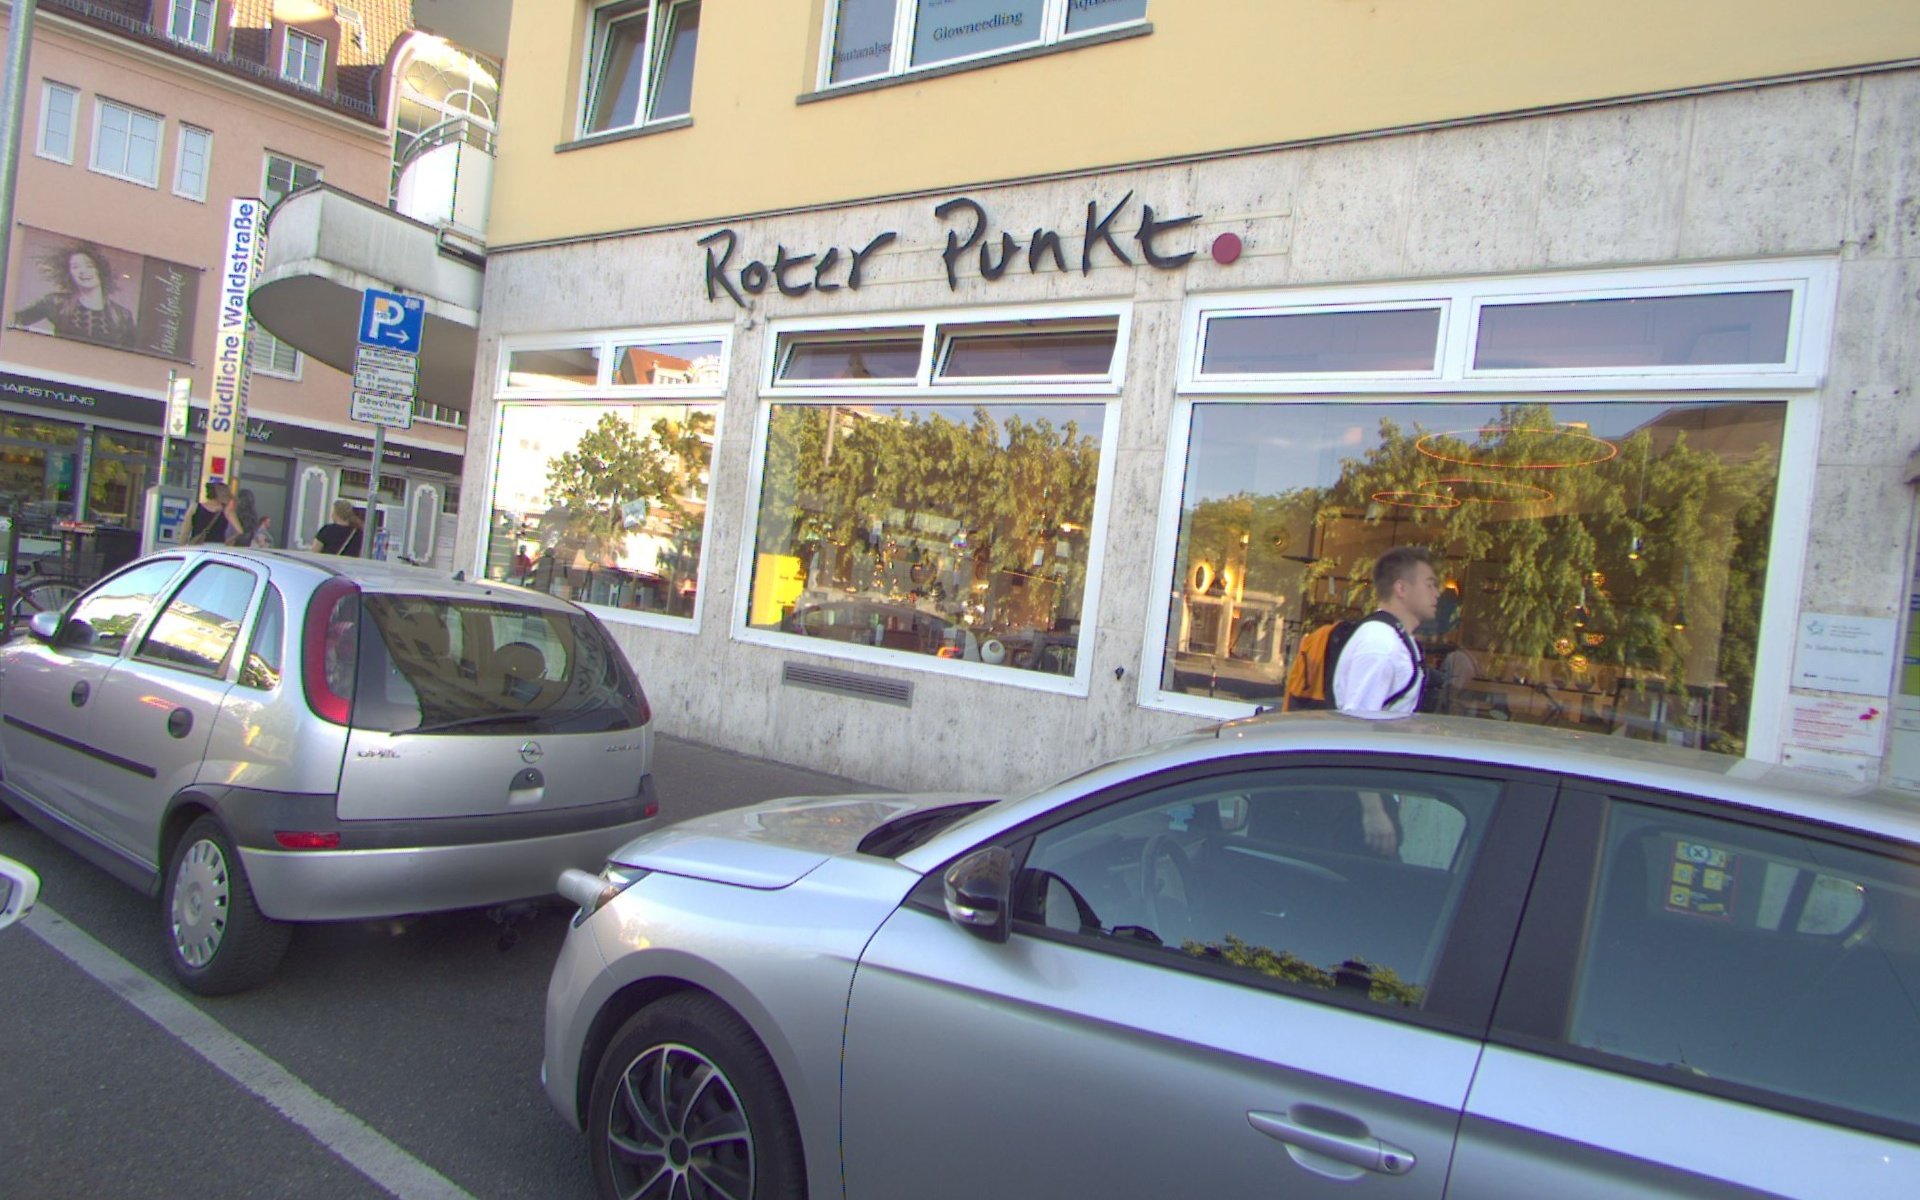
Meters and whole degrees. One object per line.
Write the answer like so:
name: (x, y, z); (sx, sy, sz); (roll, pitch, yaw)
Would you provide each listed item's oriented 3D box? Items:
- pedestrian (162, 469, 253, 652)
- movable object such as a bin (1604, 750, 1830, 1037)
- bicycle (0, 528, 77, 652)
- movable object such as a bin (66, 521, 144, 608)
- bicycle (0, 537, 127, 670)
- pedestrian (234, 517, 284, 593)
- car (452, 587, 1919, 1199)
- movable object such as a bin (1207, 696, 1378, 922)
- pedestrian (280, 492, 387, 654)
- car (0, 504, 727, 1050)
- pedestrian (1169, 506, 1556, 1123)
pedestrian: (-8.134, -0.421, 10.864); (0.677, 1.875, 0.883); (2, 3, -41)
movable object such as a bin: (3.373, 1.259, 4.553); (0.639, 1.035, 0.738); (6, -1, 31)
bicycle: (-9.056, -0.156, 8.804); (0.642, 1.072, 1.816); (7, -1, 33)
movable object such as a bin: (-11.957, -0.495, 14.071); (0.716, 1.117, 0.636); (7, 2, 35)
bicycle: (-8.165, -0.003, 8.260); (0.642, 1.057, 1.884); (7, 0, 33)
pedestrian: (-15.676, -1.001, 22.494); (0.718, 1.567, 0.783); (8, -1, -39)
car: (0.780, 0.938, 2.288); (3.624, 1.453, 1.587); (6, -2, 30)
movable object such as a bin: (1.825, 1.091, 5.483); (0.639, 1.035, 0.738); (6, -1, 31)
pedestrian: (-7.229, -0.306, 11.613); (0.775, 1.777, 0.721); (6, 2, 36)
car: (-2.957, 0.478, 4.467); (3.520, 1.443, 1.587); (6, -2, 32)
pedestrian: (1.476, 0.661, 3.654); (0.967, 1.844, 0.809); (6, -1, 35)
